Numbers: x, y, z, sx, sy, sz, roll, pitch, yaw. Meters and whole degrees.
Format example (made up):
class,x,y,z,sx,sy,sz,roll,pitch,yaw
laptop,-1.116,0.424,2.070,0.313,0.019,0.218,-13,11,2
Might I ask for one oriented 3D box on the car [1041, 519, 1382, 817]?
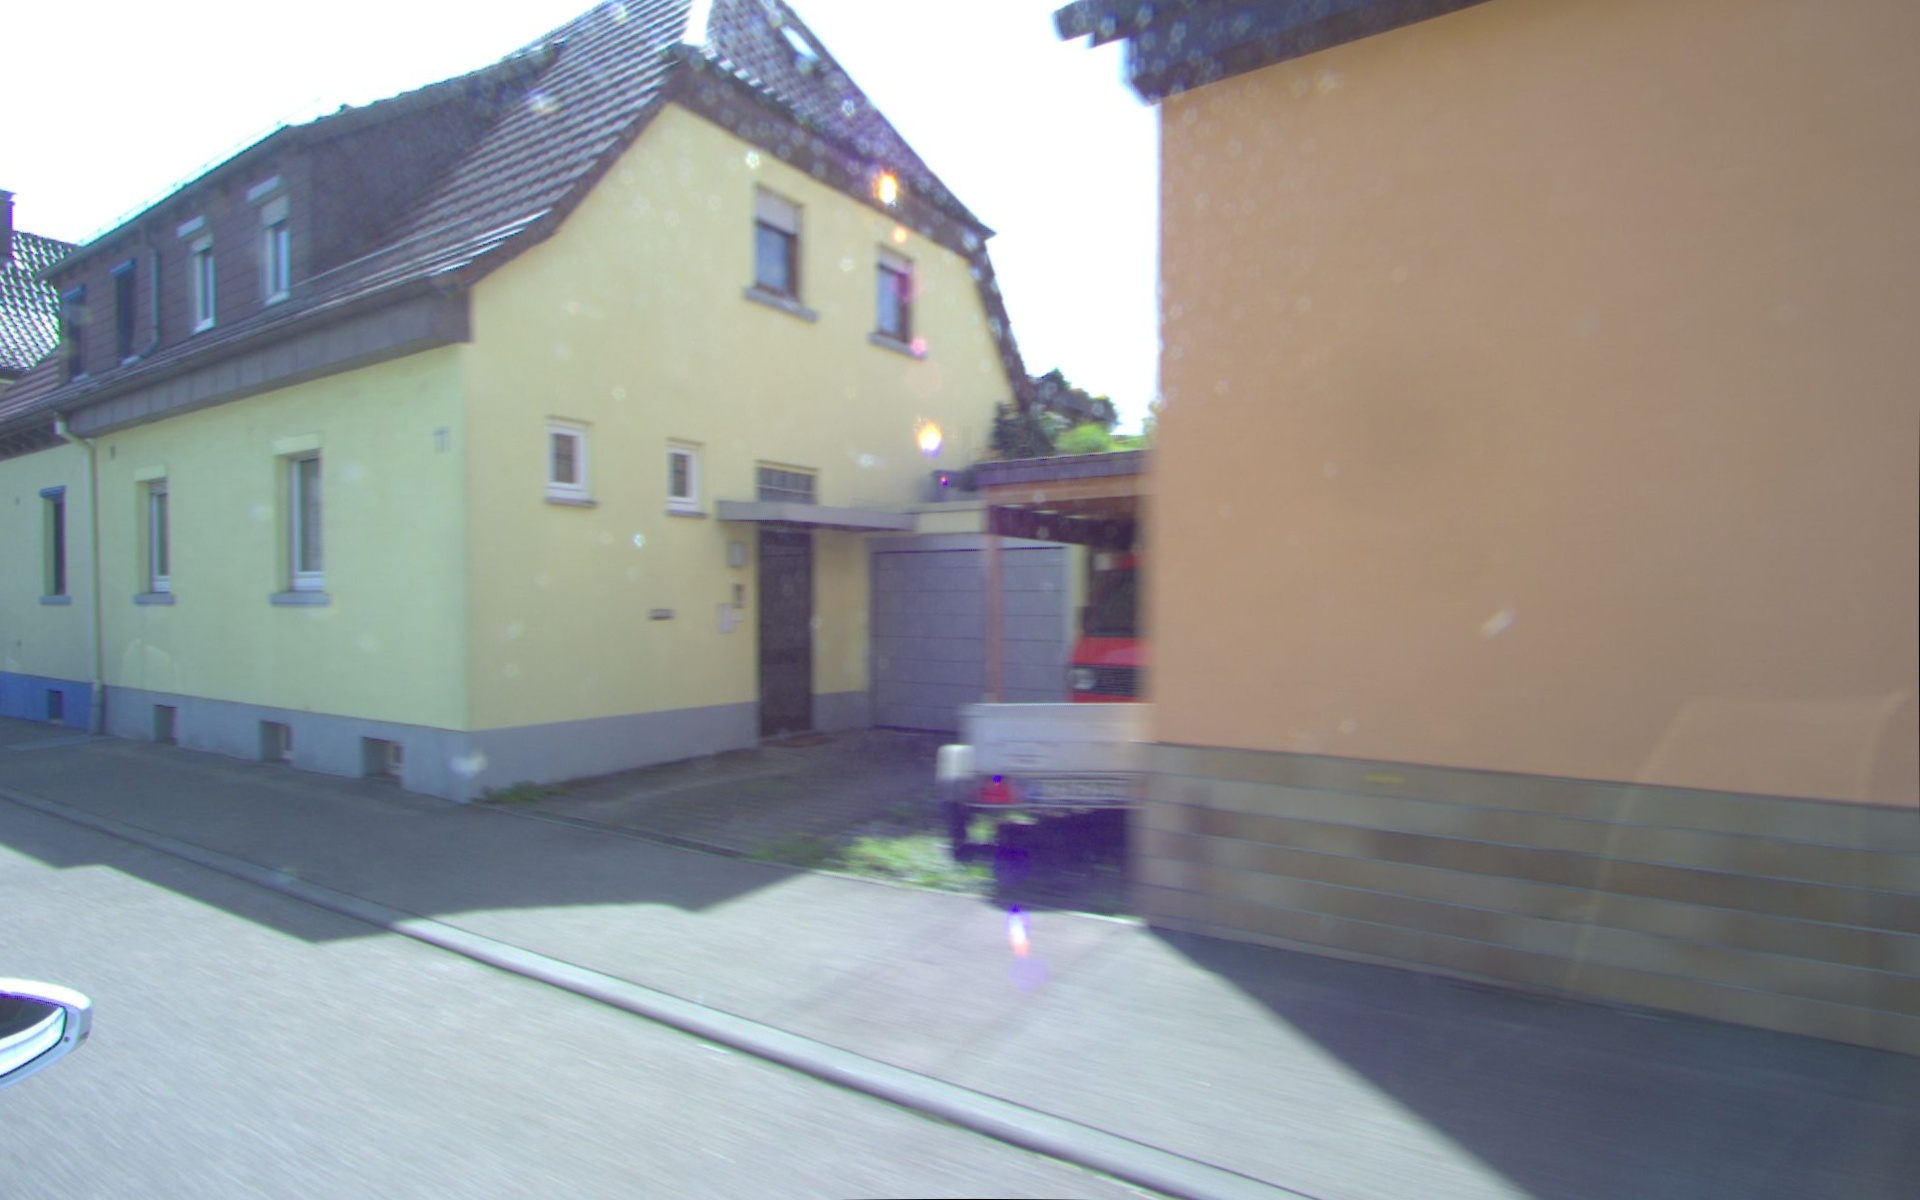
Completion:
class,x,y,z,sx,sy,sz,roll,pitch,yaw
car,2.555,0.524,9.320,1.810,2.098,4.202,0,-1,33

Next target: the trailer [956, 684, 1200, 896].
class,x,y,z,sx,sy,sz,roll,pitch,yaw
trailer,0.663,1.044,6.116,1.218,0.911,2.142,0,-1,4
